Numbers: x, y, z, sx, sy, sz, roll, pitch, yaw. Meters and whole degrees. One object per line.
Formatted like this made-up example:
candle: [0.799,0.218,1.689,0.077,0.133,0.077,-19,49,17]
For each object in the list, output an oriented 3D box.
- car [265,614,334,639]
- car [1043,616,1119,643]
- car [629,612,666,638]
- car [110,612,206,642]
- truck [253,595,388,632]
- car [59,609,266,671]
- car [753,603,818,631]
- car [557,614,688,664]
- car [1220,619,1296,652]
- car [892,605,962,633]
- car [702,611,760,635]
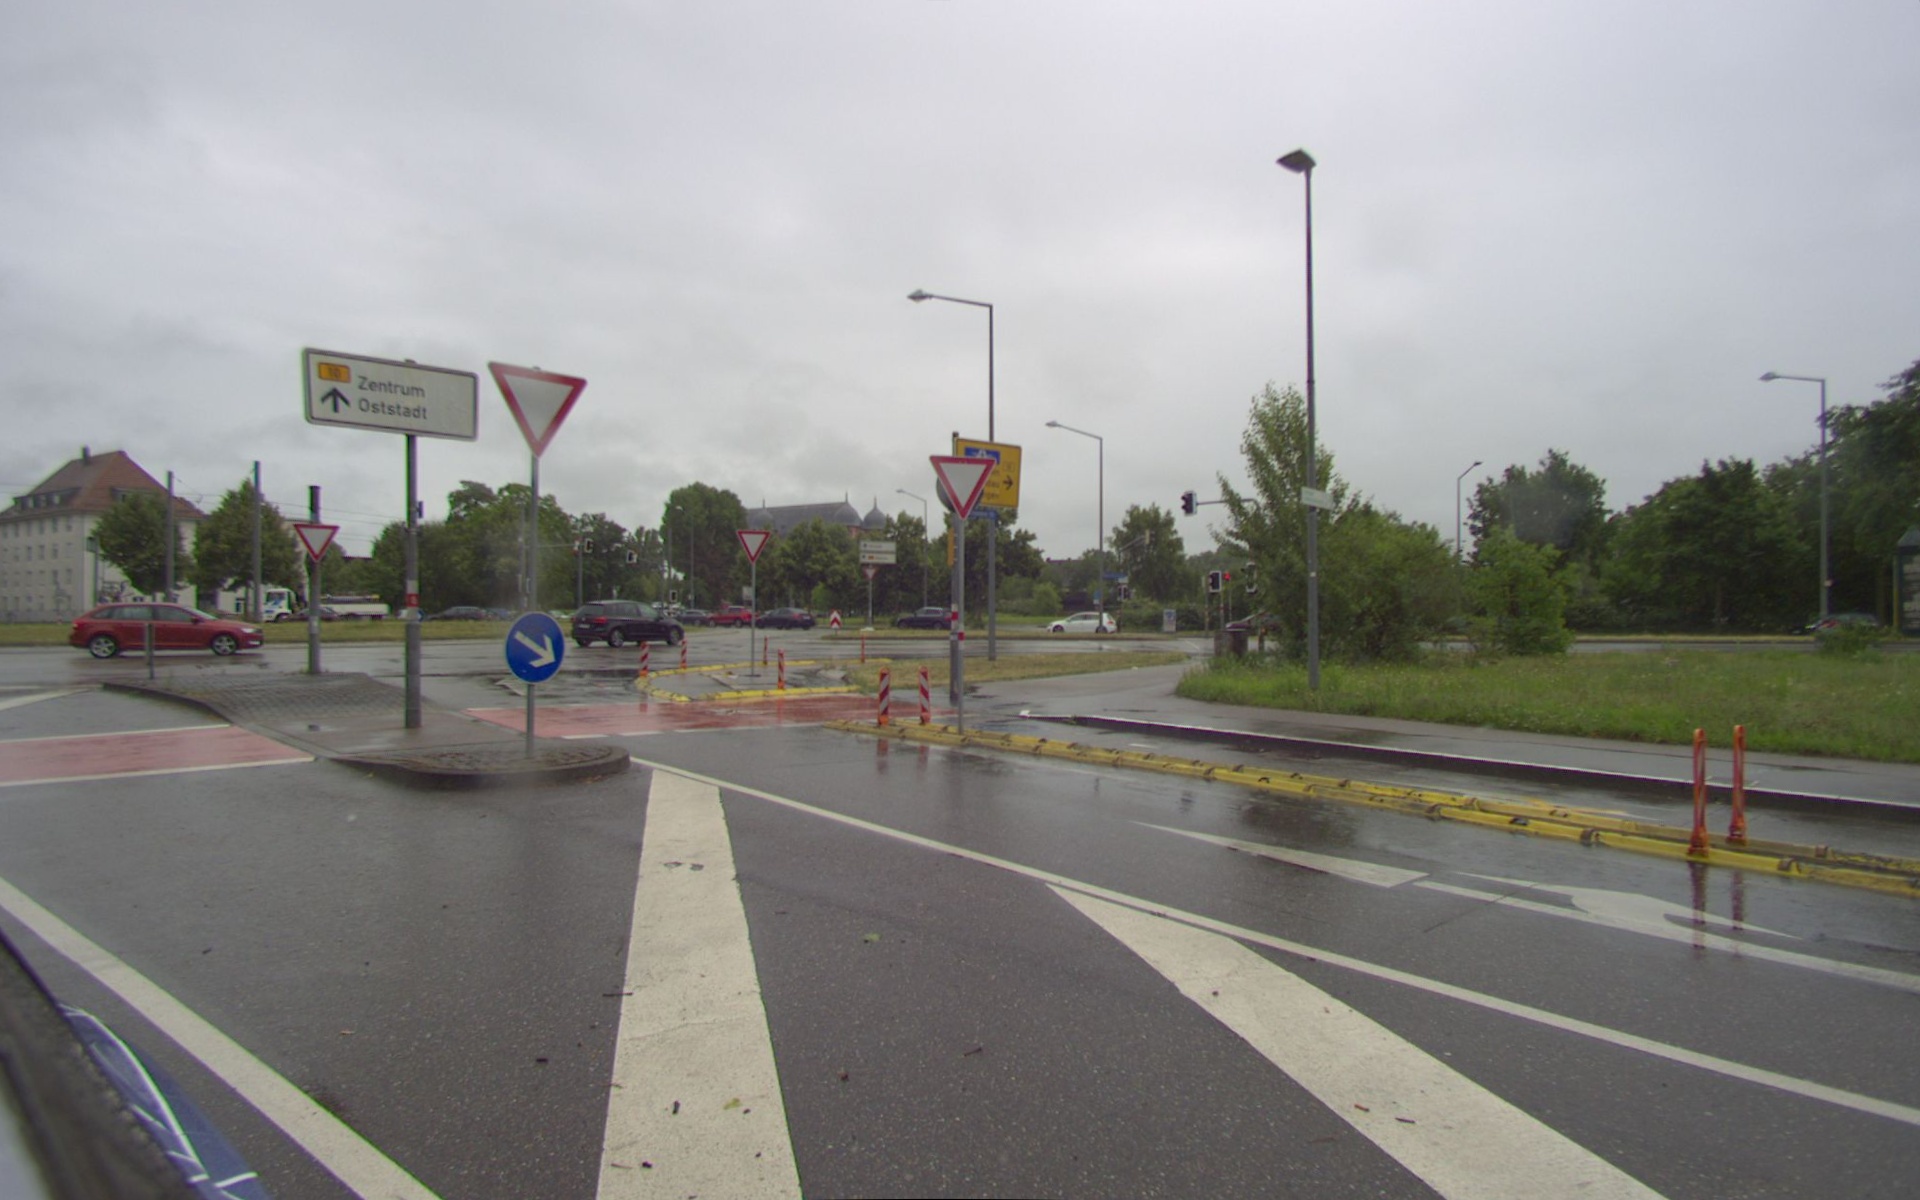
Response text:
car: [-46.641,1.890,71.532,3.931,1.660,1.795,1,1,-28]
car: [7.251,1.756,60.651,4.219,1.386,1.621,2,1,21]
car: [-22.425,1.766,72.540,1.758,1.660,4.408,1,1,-28]
car: [-52.026,1.729,65.683,4.790,1.757,1.781,0,1,-41]
truck: [-49.342,1.043,78.386,8.645,2.731,2.007,1,1,-28]
car: [-21.605,1.038,27.669,4.242,1.470,1.794,-1,1,-32]
car: [-11.656,1.110,67.415,4.389,1.660,1.766,2,1,39]
car: [-11.677,1.296,35.308,1.781,1.529,4.290,0,1,29]
car: [17.026,2.022,57.968,3.958,1.660,1.783,1,1,12]
car: [-2.173,1.230,66.555,4.377,1.660,1.769,2,1,34]
car: [-17.494,1.728,77.264,4.381,1.660,1.769,2,1,33]
